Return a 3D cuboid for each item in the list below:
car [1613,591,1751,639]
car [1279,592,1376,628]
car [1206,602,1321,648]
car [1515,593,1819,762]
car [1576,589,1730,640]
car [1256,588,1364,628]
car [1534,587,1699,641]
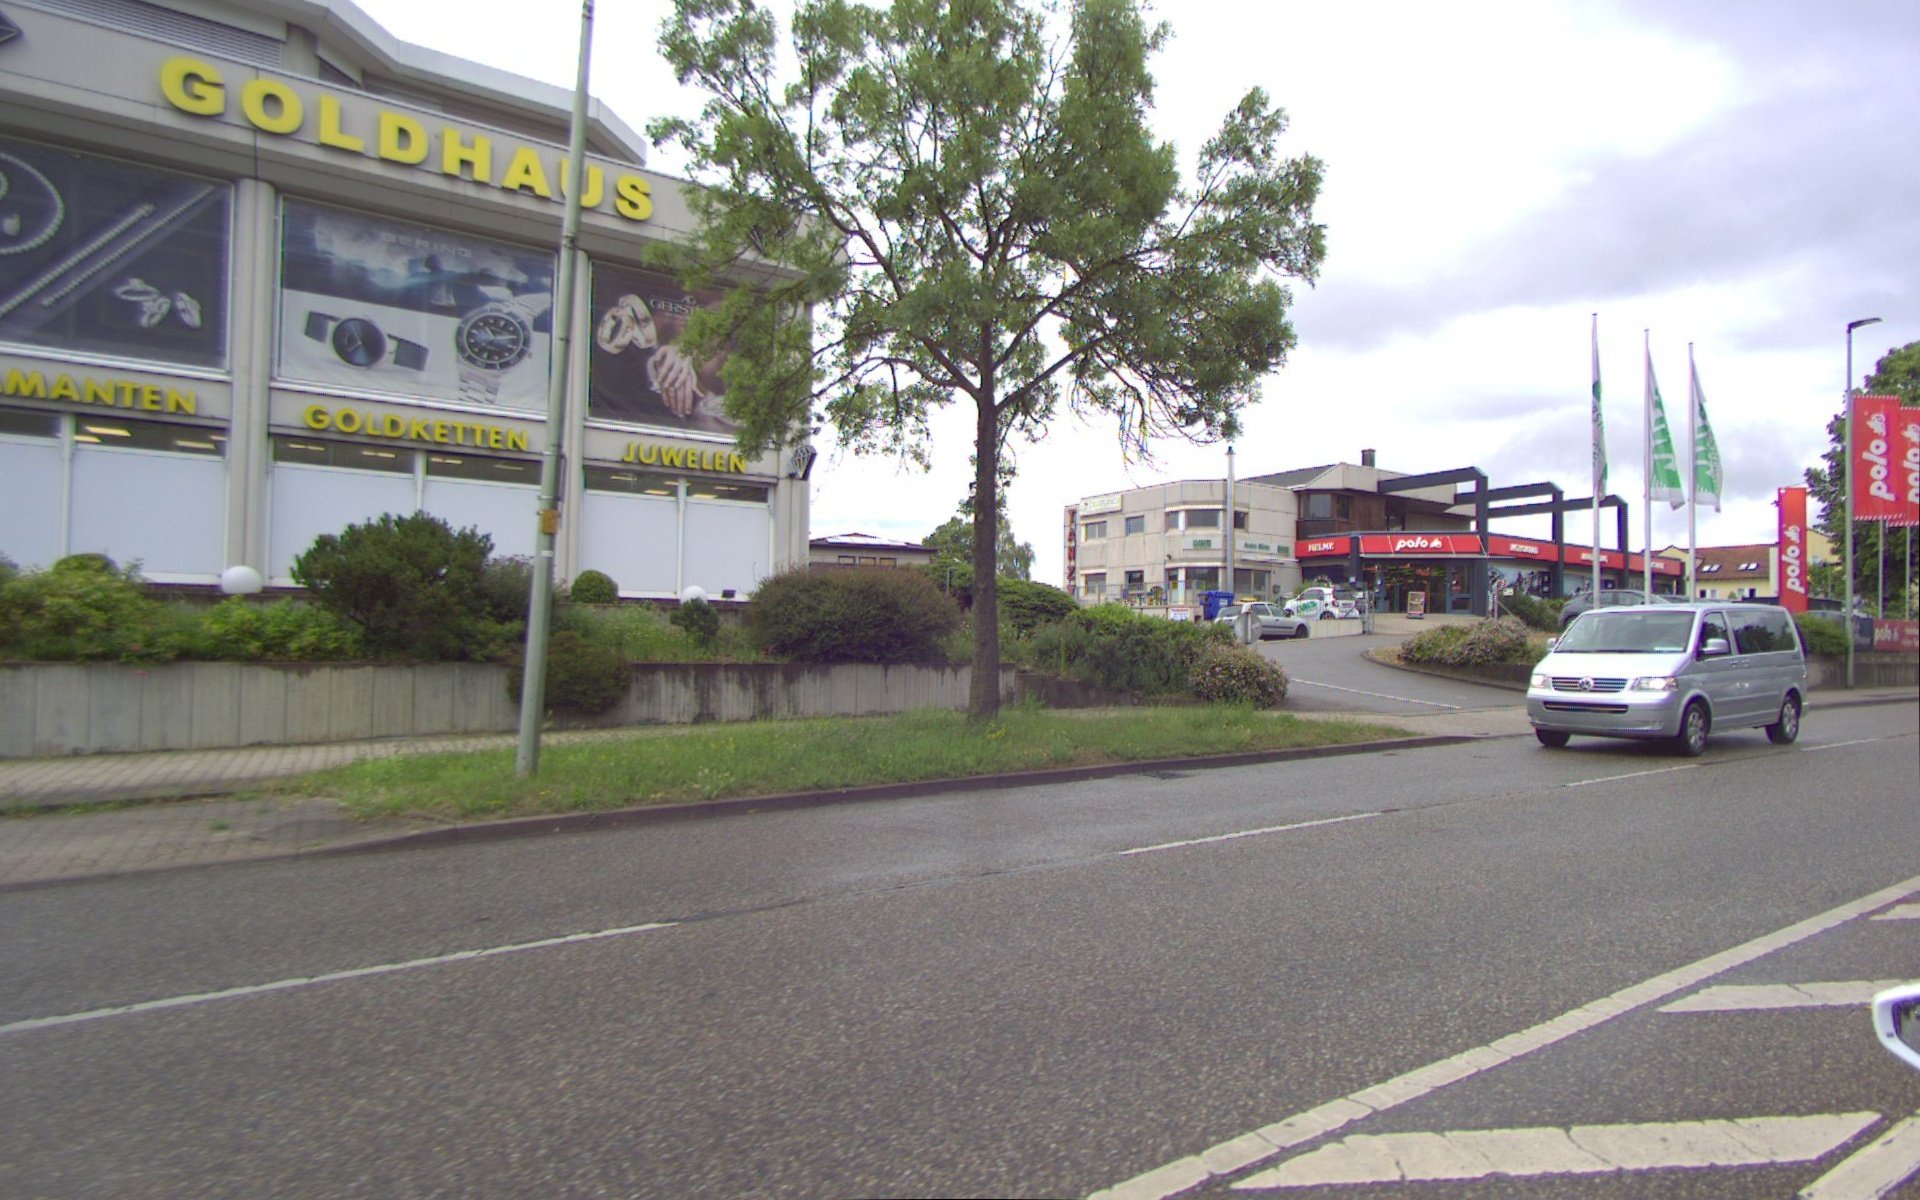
[{"bbox_3d":[24.009,0.540,33.481,1.564,1.529,3.398,1,-2,-31],"label":"car"},{"bbox_3d":[16.785,0.487,46.018,1.851,1.532,3.975,1,-2,-27],"label":"car"},{"bbox_3d":[10.795,0.919,35.669,3.956,1.532,1.666,1,-3,-31],"label":"car"},{"bbox_3d":[9.948,1.003,14.021,4.846,2.008,1.786,1,-3,-34],"label":"car"},{"bbox_3d":[21.647,0.480,31.488,1.726,1.502,3.621,1,-2,-37],"label":"car"},{"bbox_3d":[14.087,0.364,40.582,1.856,1.502,3.802,1,-2,-35],"label":"car"},{"bbox_3d":[19.644,0.460,30.173,1.726,1.502,3.799,1,-2,-37],"label":"car"}]
